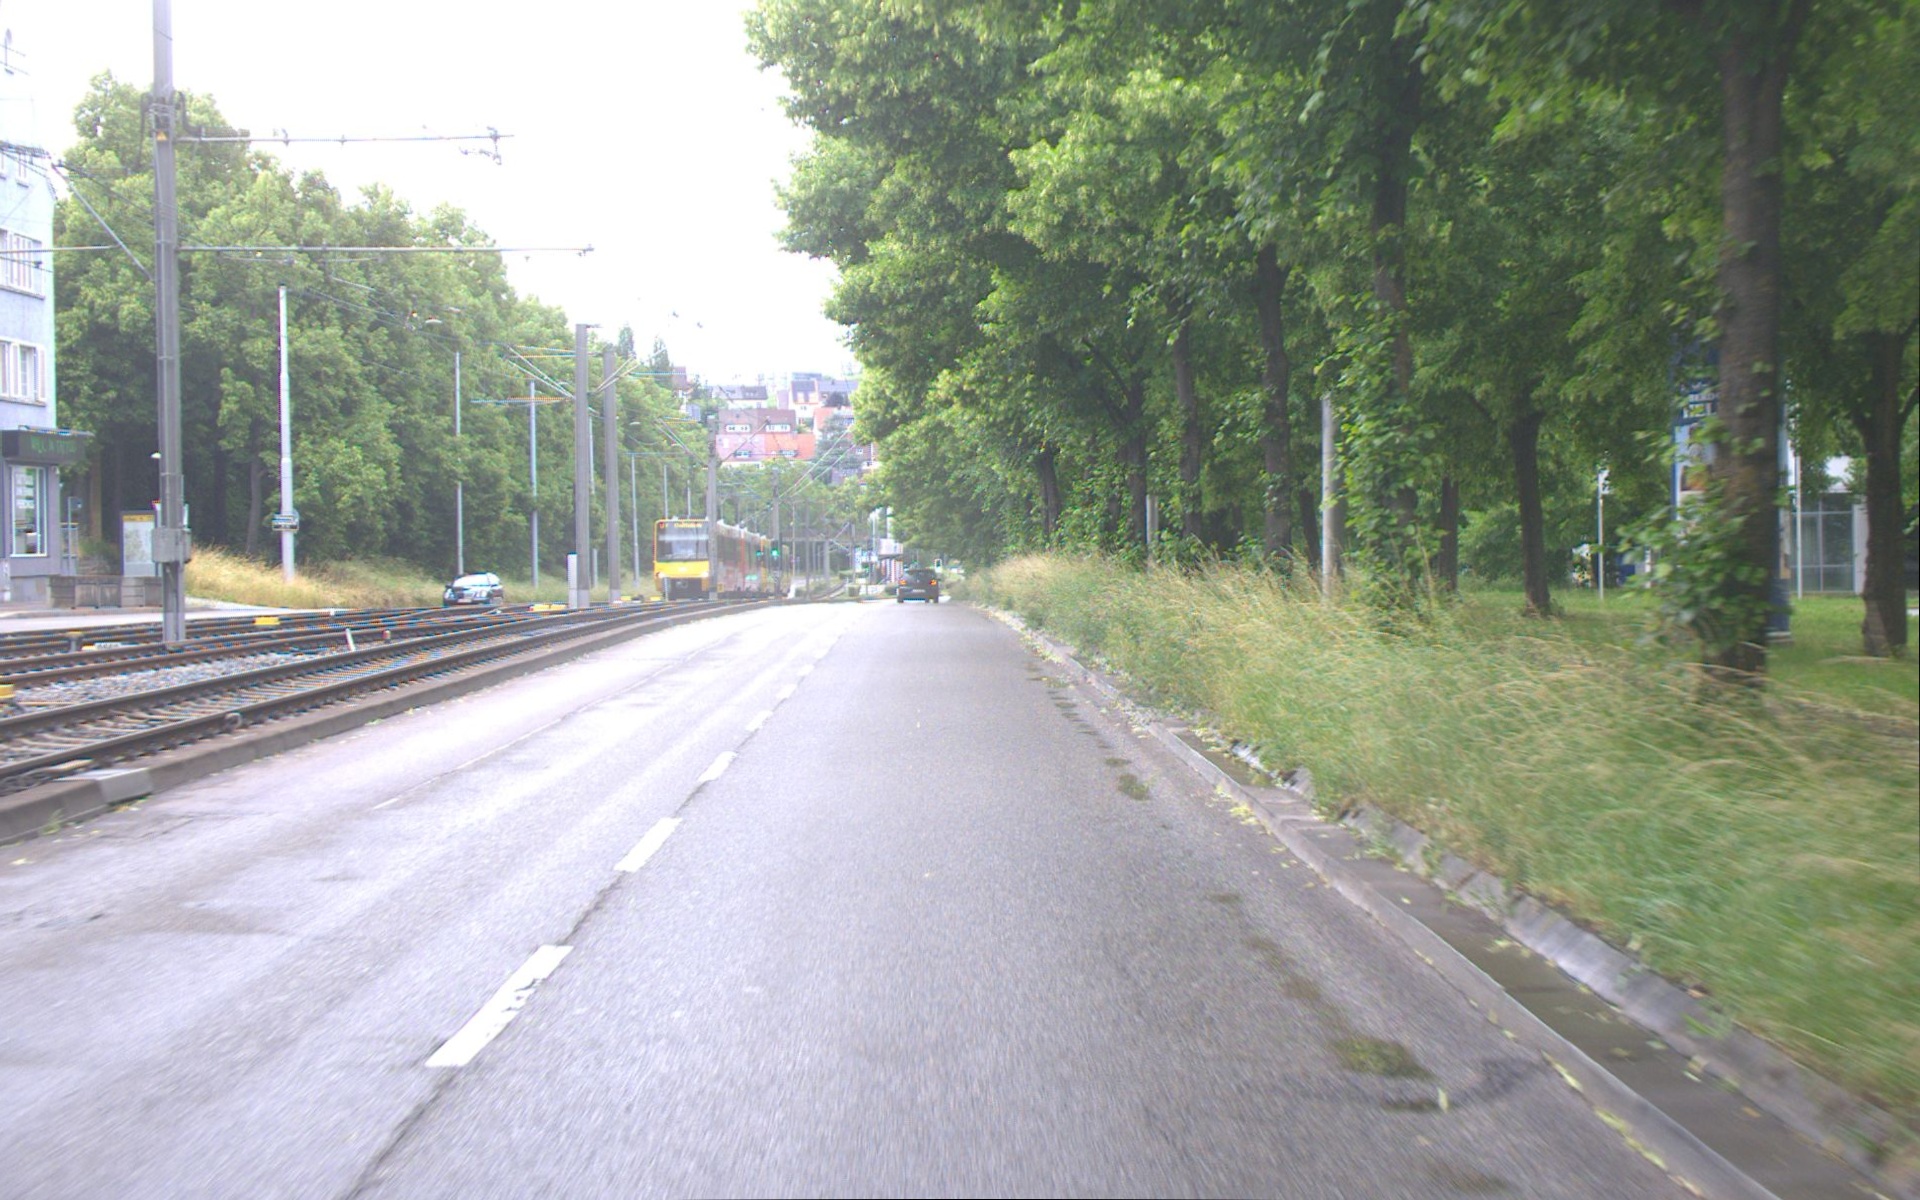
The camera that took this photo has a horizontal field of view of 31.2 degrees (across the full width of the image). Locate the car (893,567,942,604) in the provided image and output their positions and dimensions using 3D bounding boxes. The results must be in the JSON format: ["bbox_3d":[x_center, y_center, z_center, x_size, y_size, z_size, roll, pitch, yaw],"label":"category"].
[{"bbox_3d":[-1.739,-0.610,141.332,1.982,1.436,4.474,-1,1,0],"label":"car"}]

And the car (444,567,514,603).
[{"bbox_3d":[-18.124,-0.547,129.629,1.902,1.320,4.826,-1,0,1],"label":"car"}]

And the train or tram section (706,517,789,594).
[{"bbox_3d":[-11.151,-2.273,181.704,3.214,3.783,14.789,-1,0,1],"label":"train or tram section"}]

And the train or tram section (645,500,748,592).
[{"bbox_3d":[-11.534,-2.293,151.996,3.214,3.783,14.789,-1,0,1],"label":"train or tram section"}]
